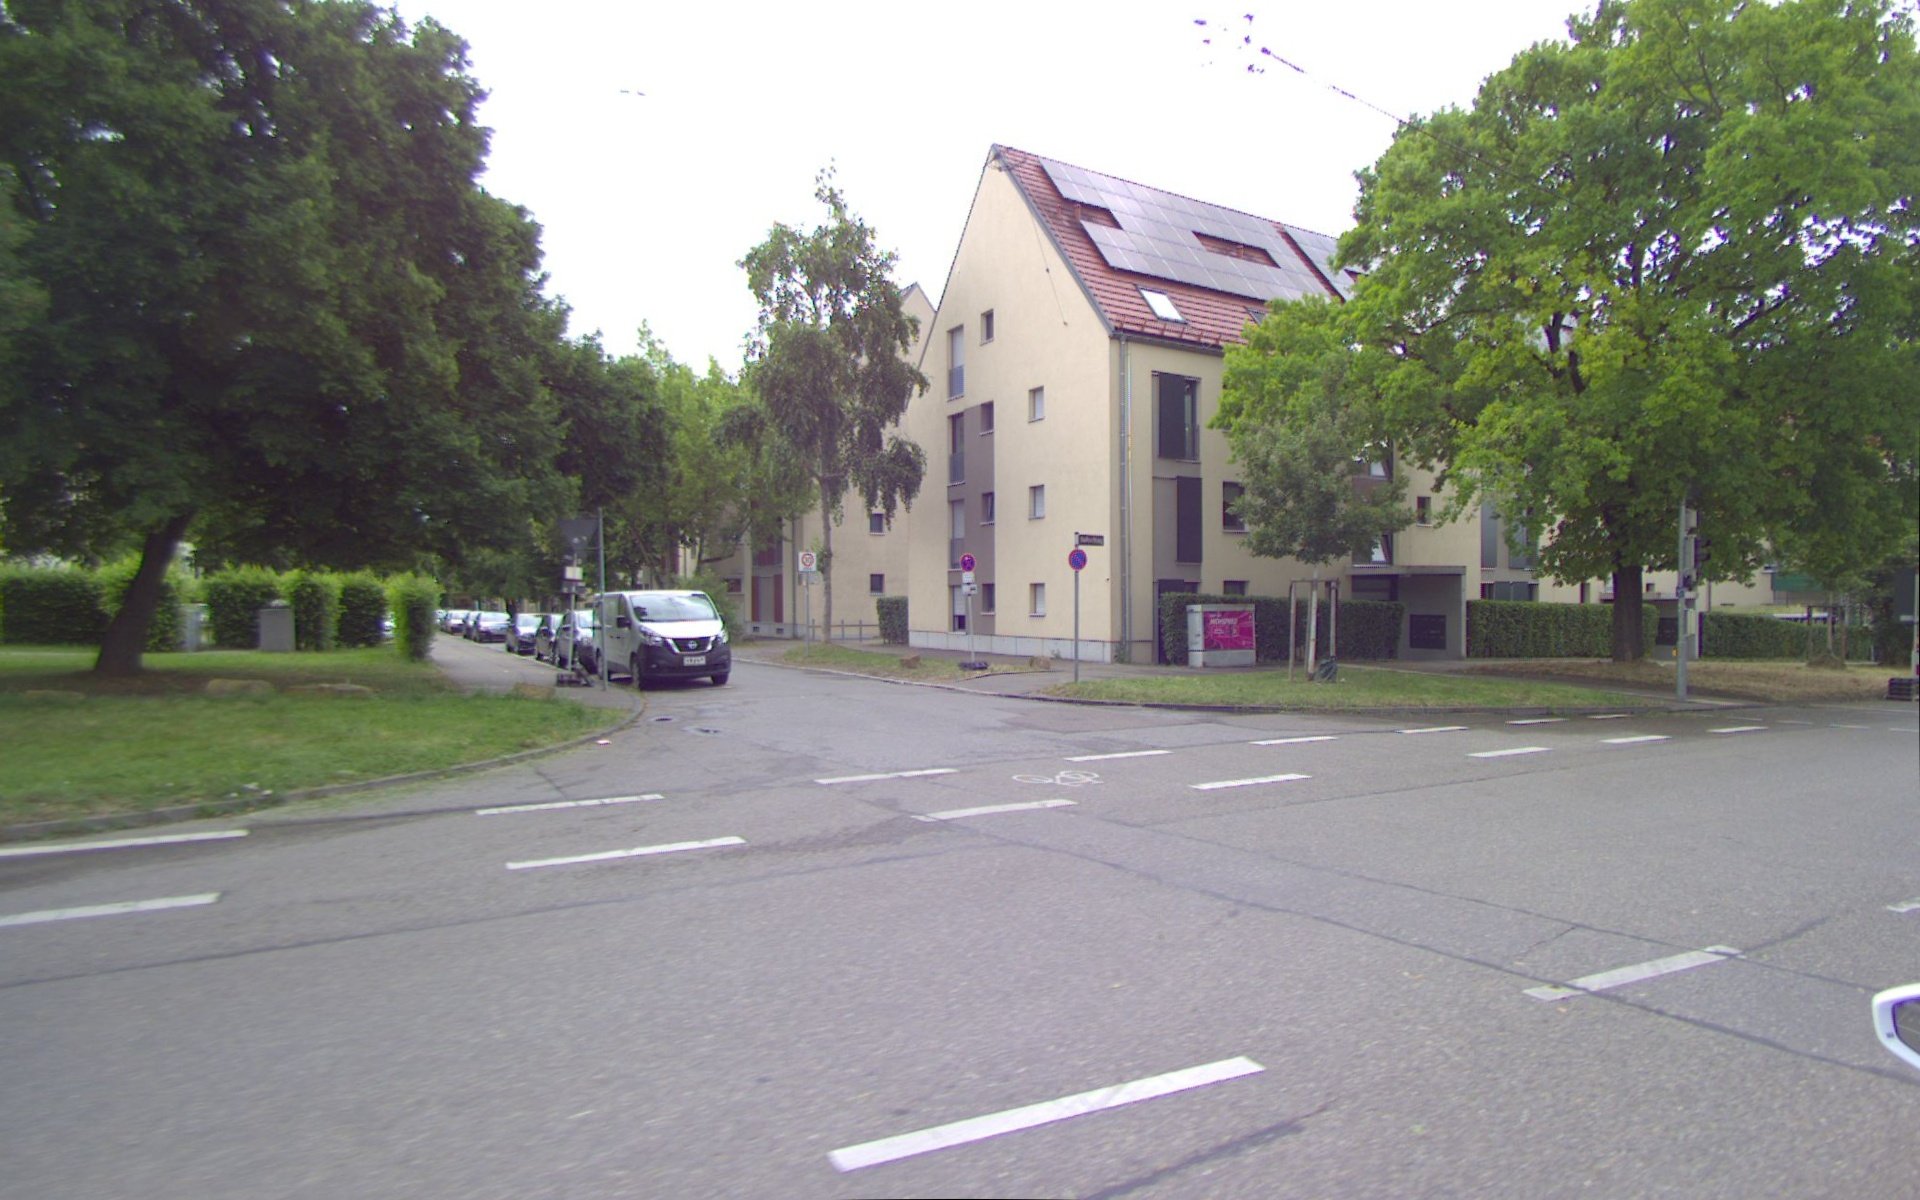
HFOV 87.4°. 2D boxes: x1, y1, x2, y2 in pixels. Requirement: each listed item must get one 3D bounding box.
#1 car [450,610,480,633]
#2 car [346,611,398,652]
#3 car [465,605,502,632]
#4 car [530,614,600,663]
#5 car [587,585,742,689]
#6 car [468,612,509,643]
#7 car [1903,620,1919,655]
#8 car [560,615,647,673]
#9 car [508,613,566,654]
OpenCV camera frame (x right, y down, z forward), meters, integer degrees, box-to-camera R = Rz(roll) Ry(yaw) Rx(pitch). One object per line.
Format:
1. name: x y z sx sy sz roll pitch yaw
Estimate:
1. car: -31.196 1.341 63.252 1.520 1.330 3.511 2 0 -29
2. car: -21.693 1.139 37.067 1.567 1.399 3.422 2 0 -30
3. car: -25.672 0.996 54.064 1.520 1.330 3.511 2 0 -29
4. car: -12.256 1.166 31.064 1.520 1.330 3.511 2 0 -29
5. car: -6.452 0.697 21.499 1.977 1.943 5.114 2 0 -31
6. car: -22.689 1.292 48.246 1.520 1.330 3.511 2 0 -29
7. car: 66.211 2.568 66.816 1.972 2.283 4.695 2 -1 -30
8. car: -9.250 1.097 25.944 1.520 1.330 3.511 2 0 -29
9. car: -15.227 1.188 36.045 1.520 1.330 3.511 2 0 -29
